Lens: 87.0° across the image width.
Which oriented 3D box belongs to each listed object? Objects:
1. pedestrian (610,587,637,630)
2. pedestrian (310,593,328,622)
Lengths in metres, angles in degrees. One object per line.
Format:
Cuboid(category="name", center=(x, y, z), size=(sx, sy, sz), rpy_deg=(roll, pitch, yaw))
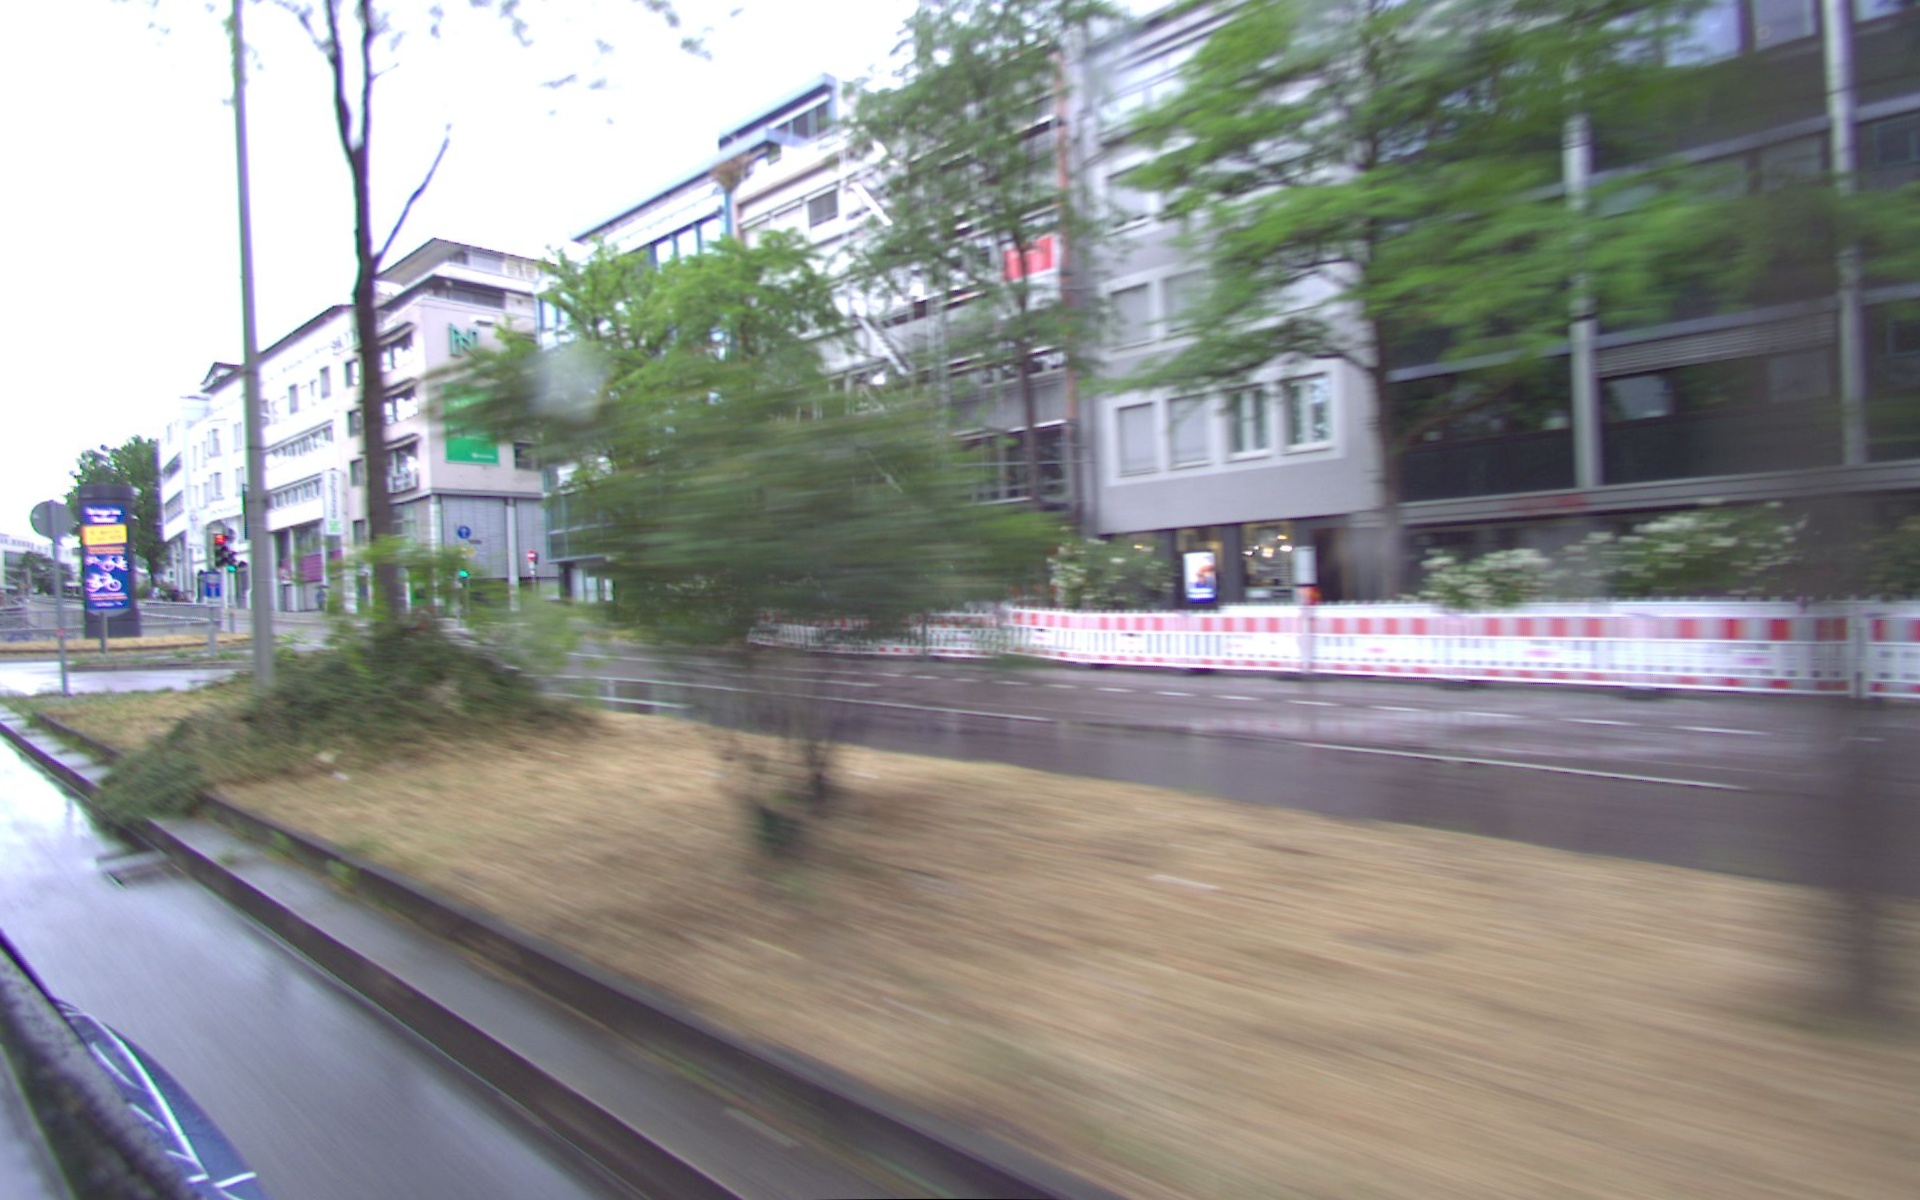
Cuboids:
Cuboid(category="pedestrian", center=(-13.586, 0.342, 40.848), size=(0.757, 1.727, 0.731), rpy_deg=(-1, 1, 41))
Cuboid(category="pedestrian", center=(-39.117, 0.447, 61.745), size=(0.803, 1.741, 0.687), rpy_deg=(-1, 0, 39))
